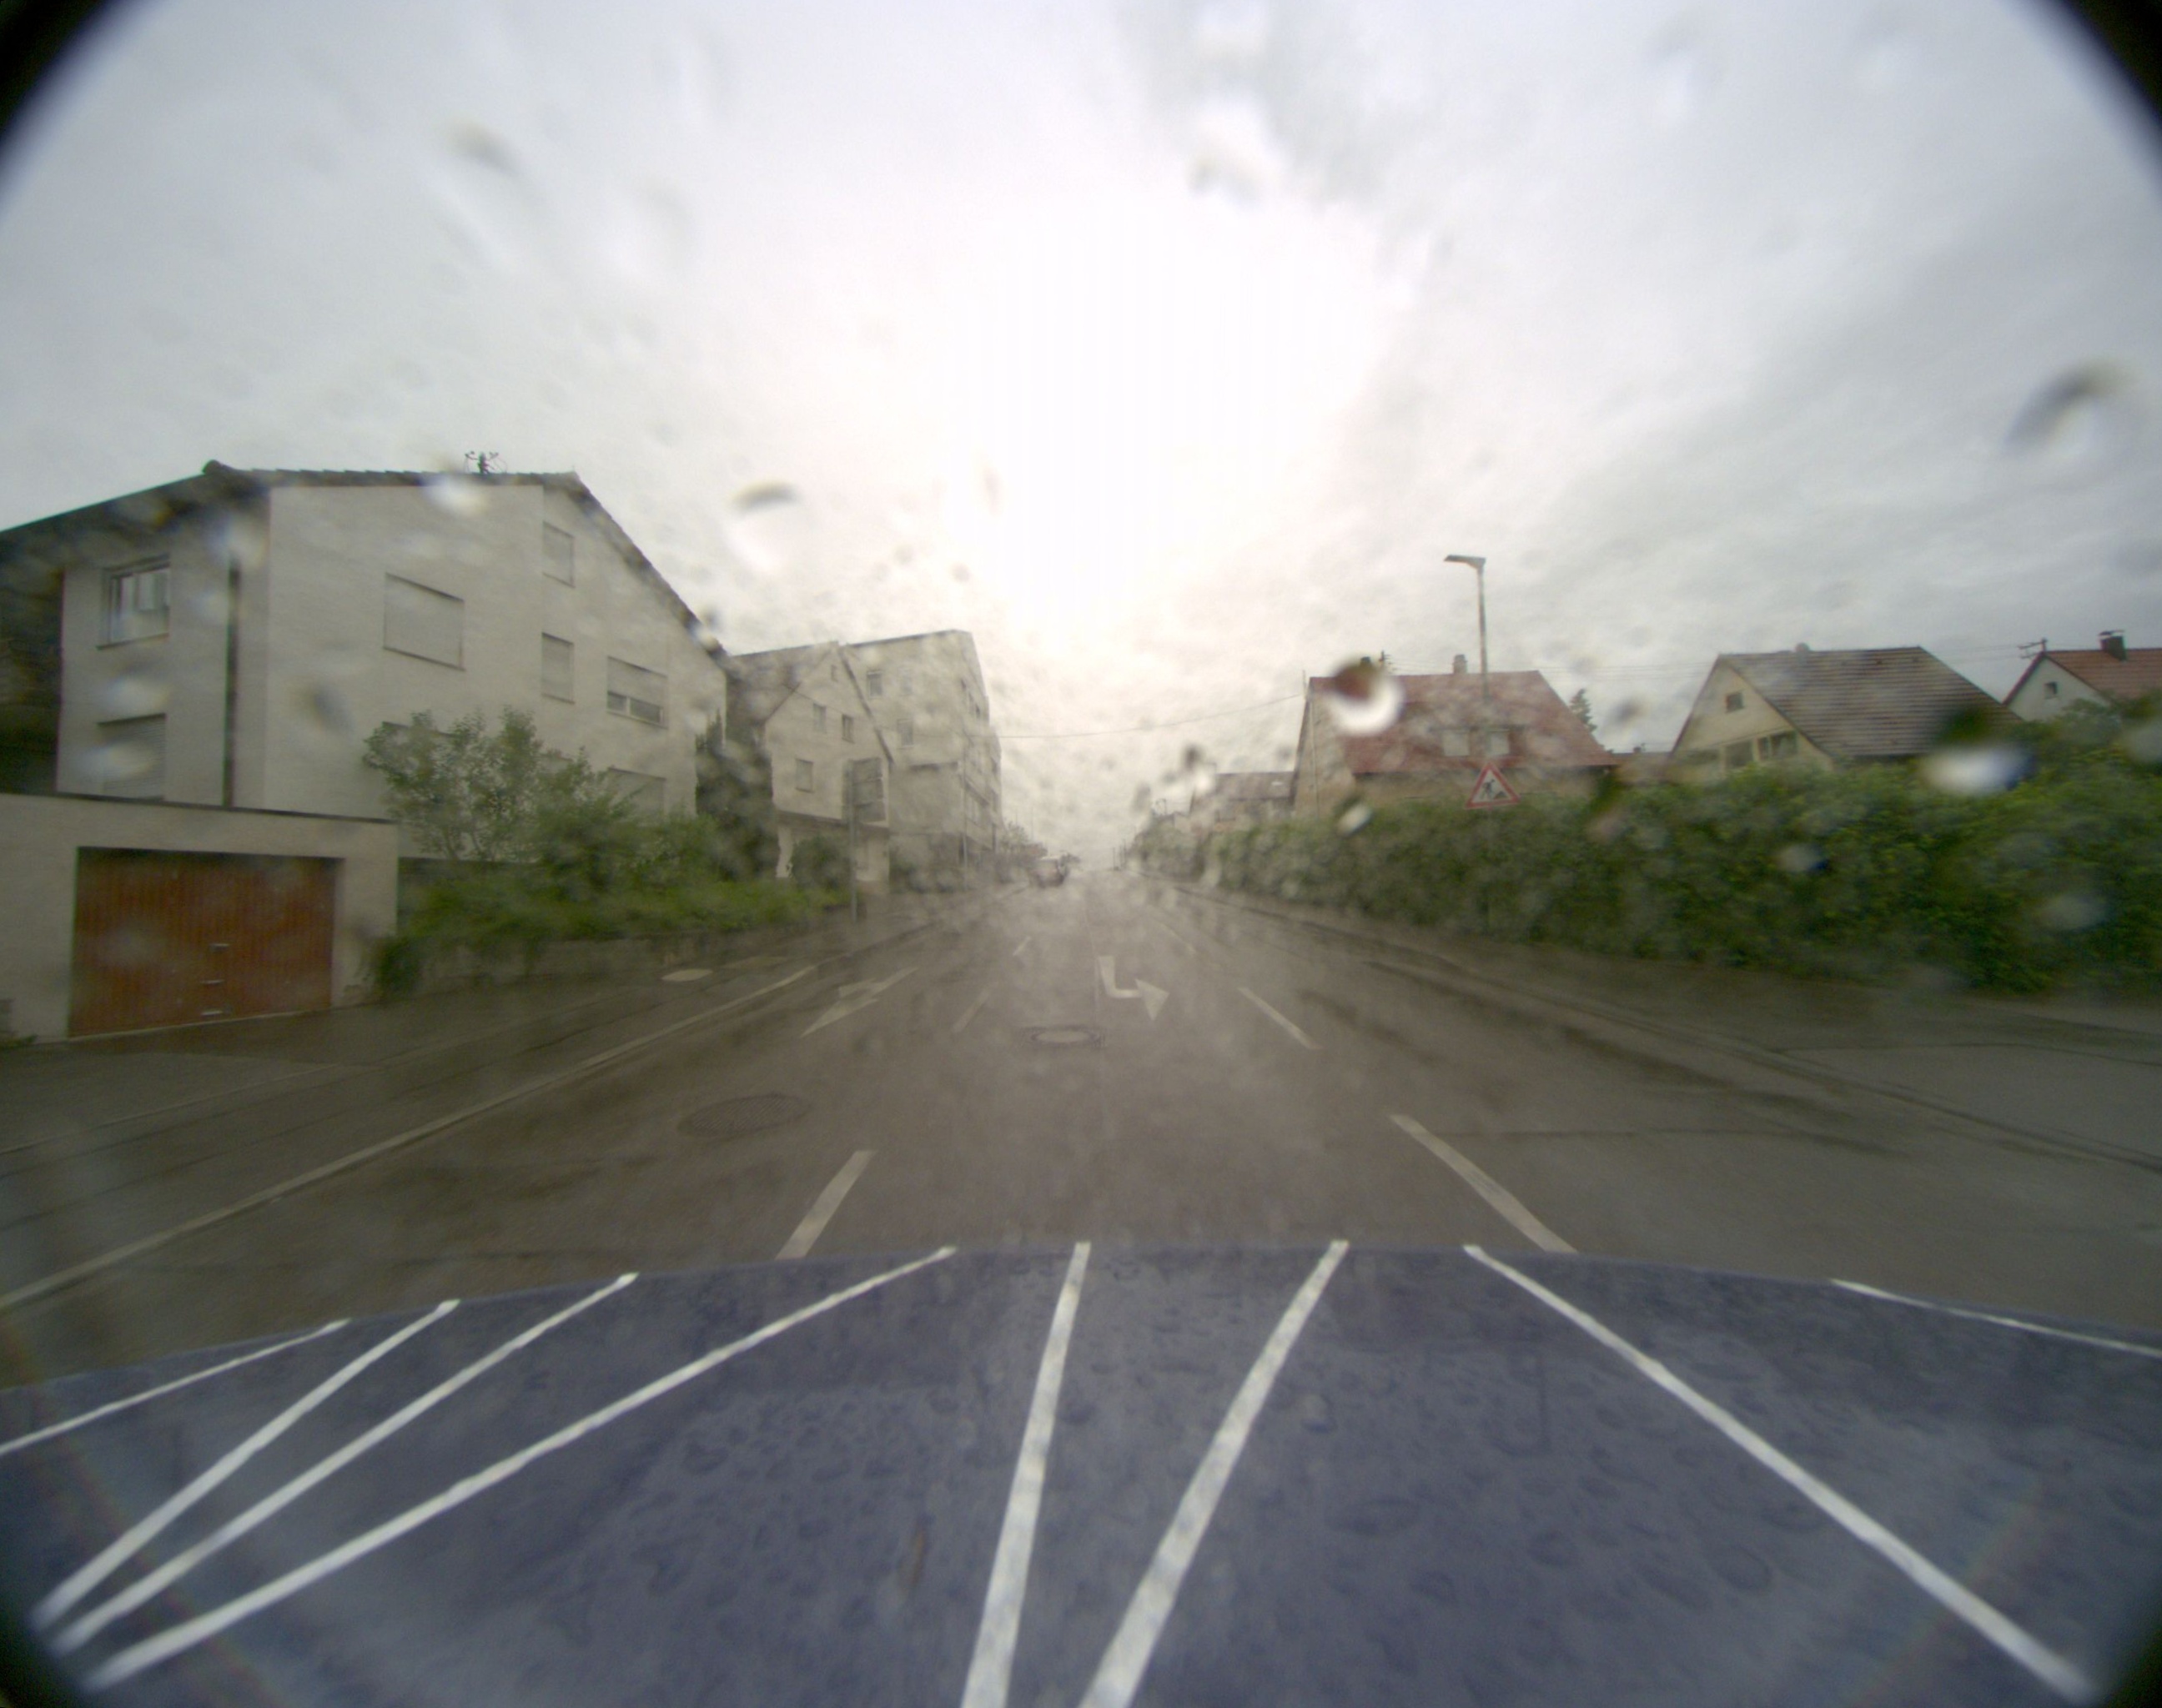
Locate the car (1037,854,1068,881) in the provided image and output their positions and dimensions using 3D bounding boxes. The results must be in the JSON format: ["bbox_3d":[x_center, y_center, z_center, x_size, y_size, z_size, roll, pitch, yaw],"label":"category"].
[{"bbox_3d":[-2.009,0.912,54.177,1.883,1.823,4.489,-2,0,1],"label":"car"}]

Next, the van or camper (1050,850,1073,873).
[{"bbox_3d":[-1.877,0.751,73.485,1.998,2.101,5.203,-1,0,0],"label":"van or camper"}]

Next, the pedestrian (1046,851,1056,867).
[{"bbox_3d":[-3.385,0.596,85.793,1.026,1.748,1.031,-1,-1,-1],"label":"pedestrian"}]

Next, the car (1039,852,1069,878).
[{"bbox_3d":[-2.055,0.811,59.956,1.998,1.923,4.976,-2,0,1],"label":"car"}]

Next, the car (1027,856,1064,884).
[{"bbox_3d":[-2.234,0.994,48.952,1.998,1.635,4.958,-2,0,1],"label":"car"}]
